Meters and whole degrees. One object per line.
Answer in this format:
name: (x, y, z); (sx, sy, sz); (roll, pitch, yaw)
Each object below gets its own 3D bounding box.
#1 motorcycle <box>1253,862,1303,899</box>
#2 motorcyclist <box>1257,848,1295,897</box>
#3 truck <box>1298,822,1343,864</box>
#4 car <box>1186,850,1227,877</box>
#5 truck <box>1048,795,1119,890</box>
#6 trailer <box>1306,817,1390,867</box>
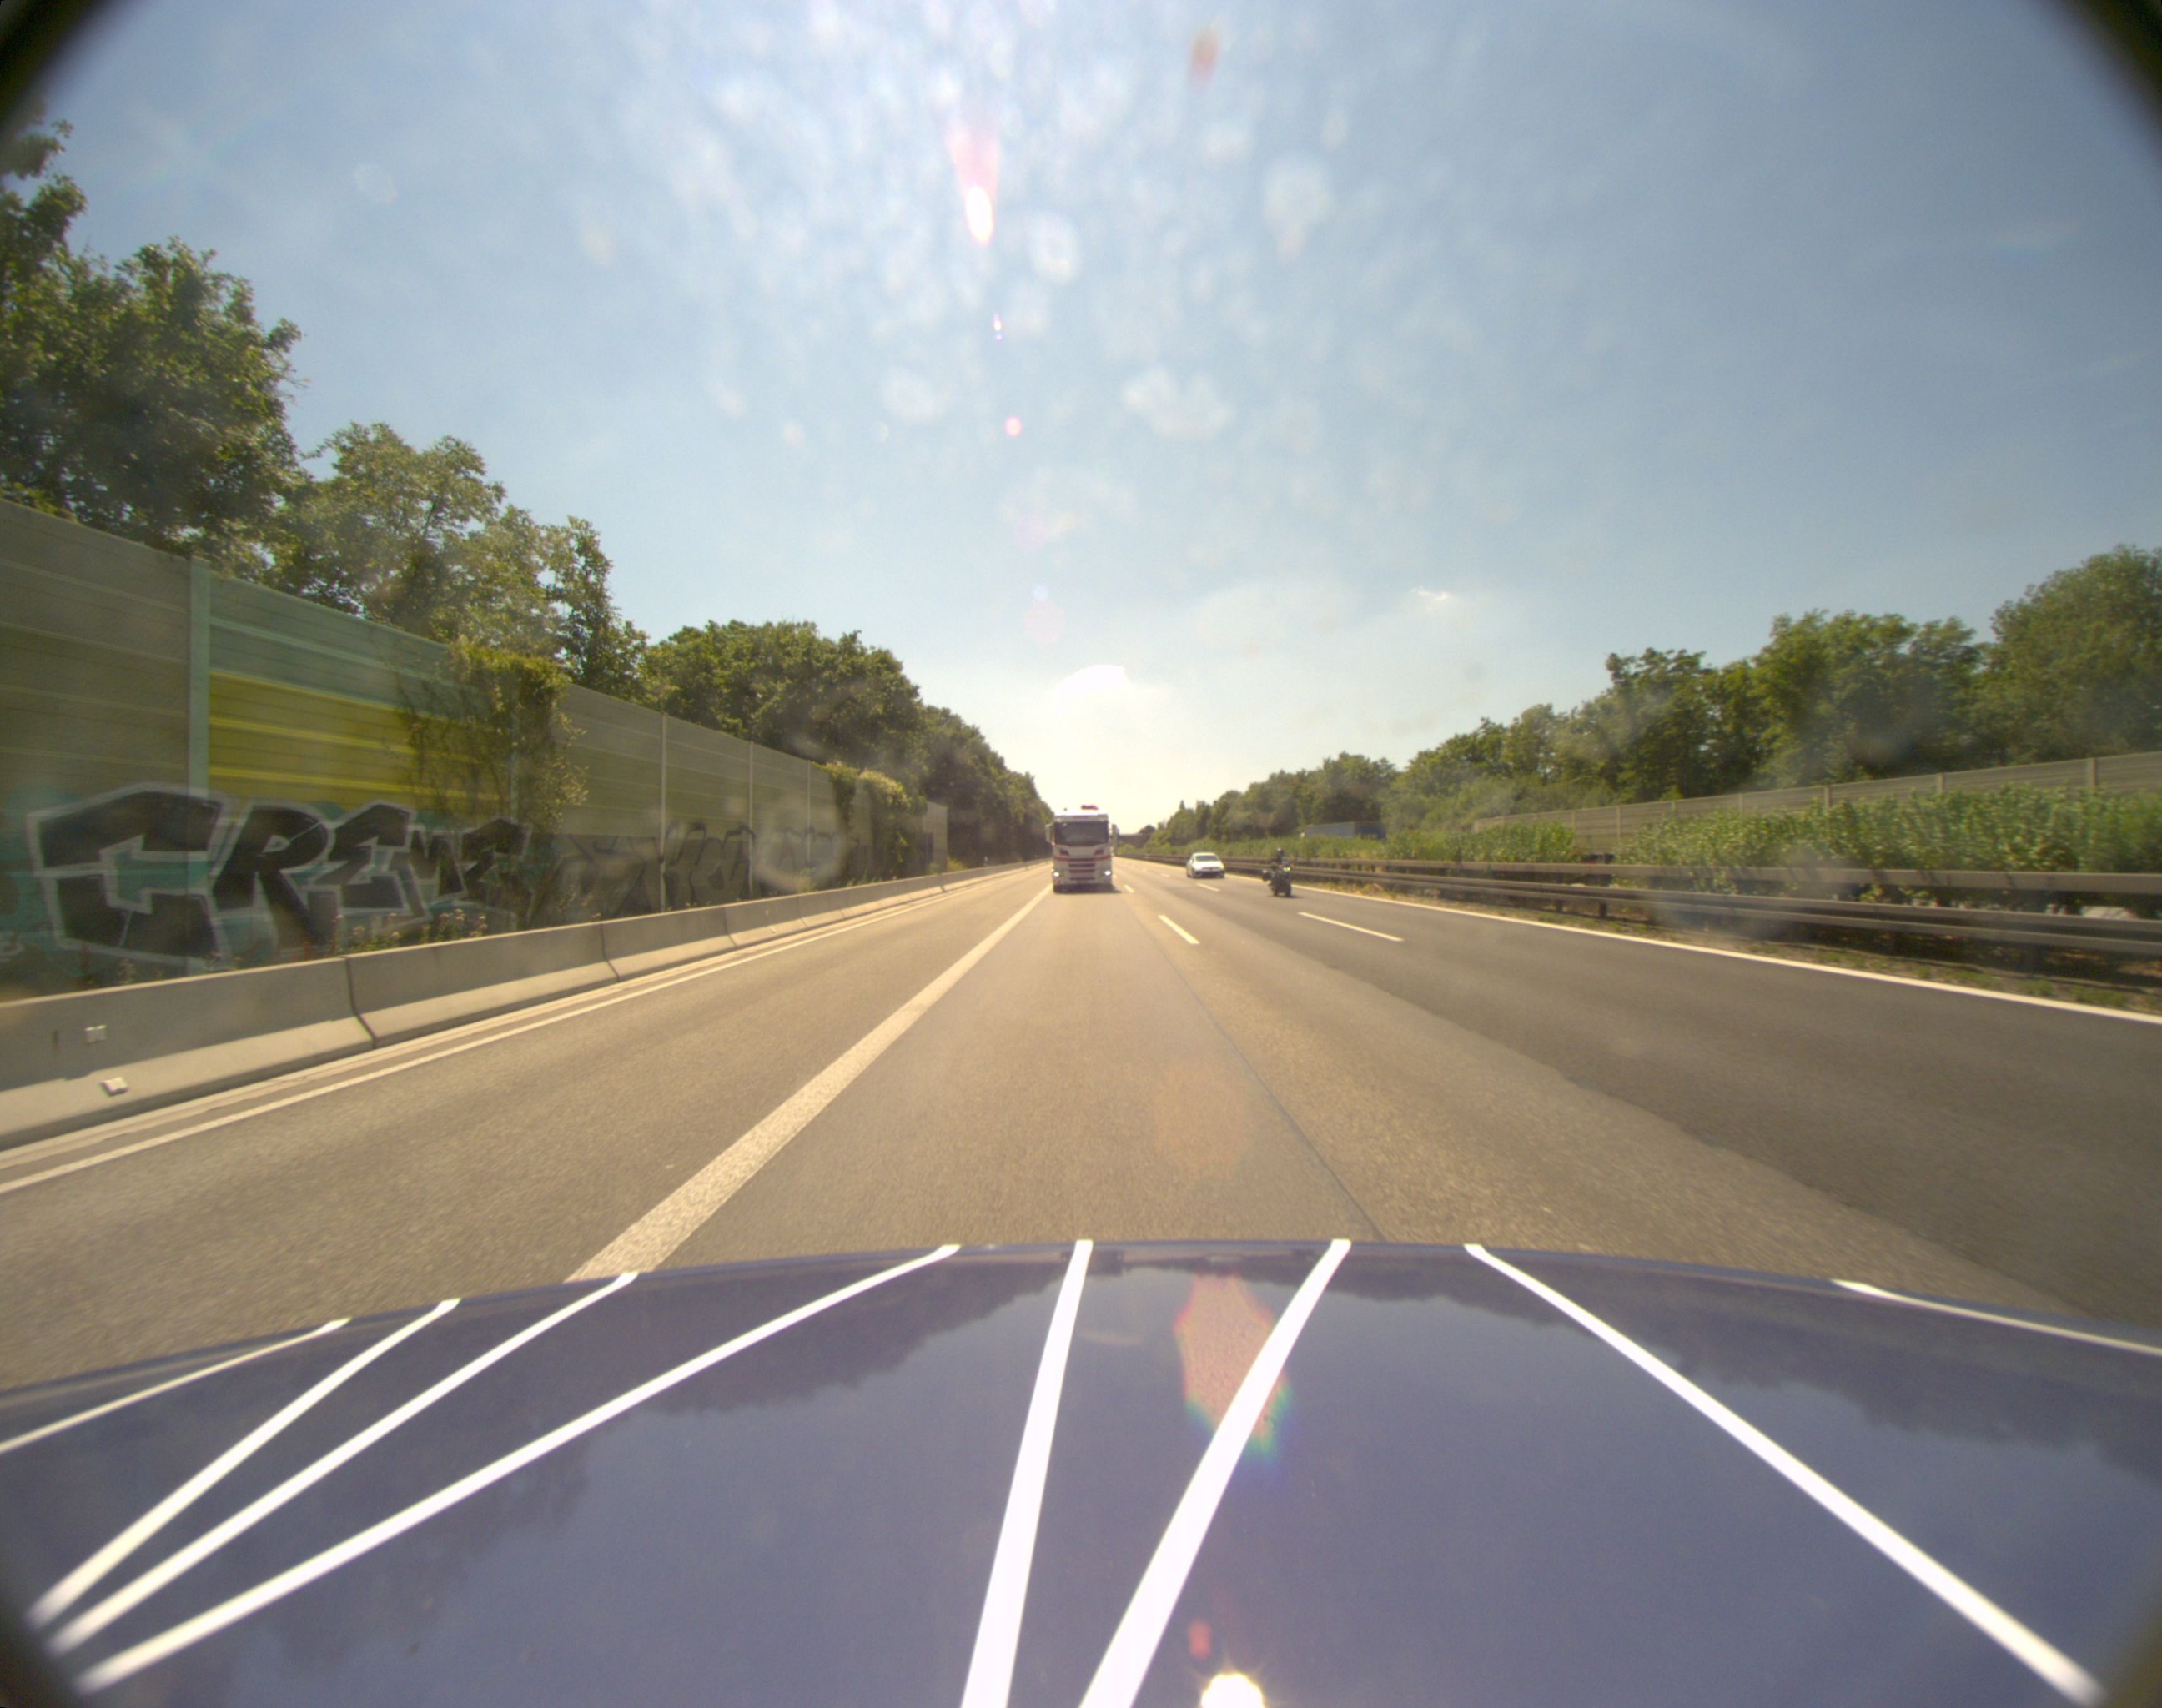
motorcycle: (6.681, 0.877, 25.979); (0.915, 1.082, 2.849); (-2, 1, -1)
motorcyclist: (6.652, 0.607, 25.998); (0.895, 1.588, 1.299); (-2, 1, -1)
truck: (22.933, -1.010, 72.927); (2.677, 3.830, 5.092); (-1, 0, 1)
car: (7.272, 0.505, 44.485); (1.786, 1.432, 4.669); (-1, 0, 2)
truck: (0.187, -0.429, 36.199); (2.721, 3.779, 10.673); (-2, 0, 1)
trailer: (22.780, -0.986, 65.802); (2.712, 3.830, 13.673); (-1, 0, 1)
